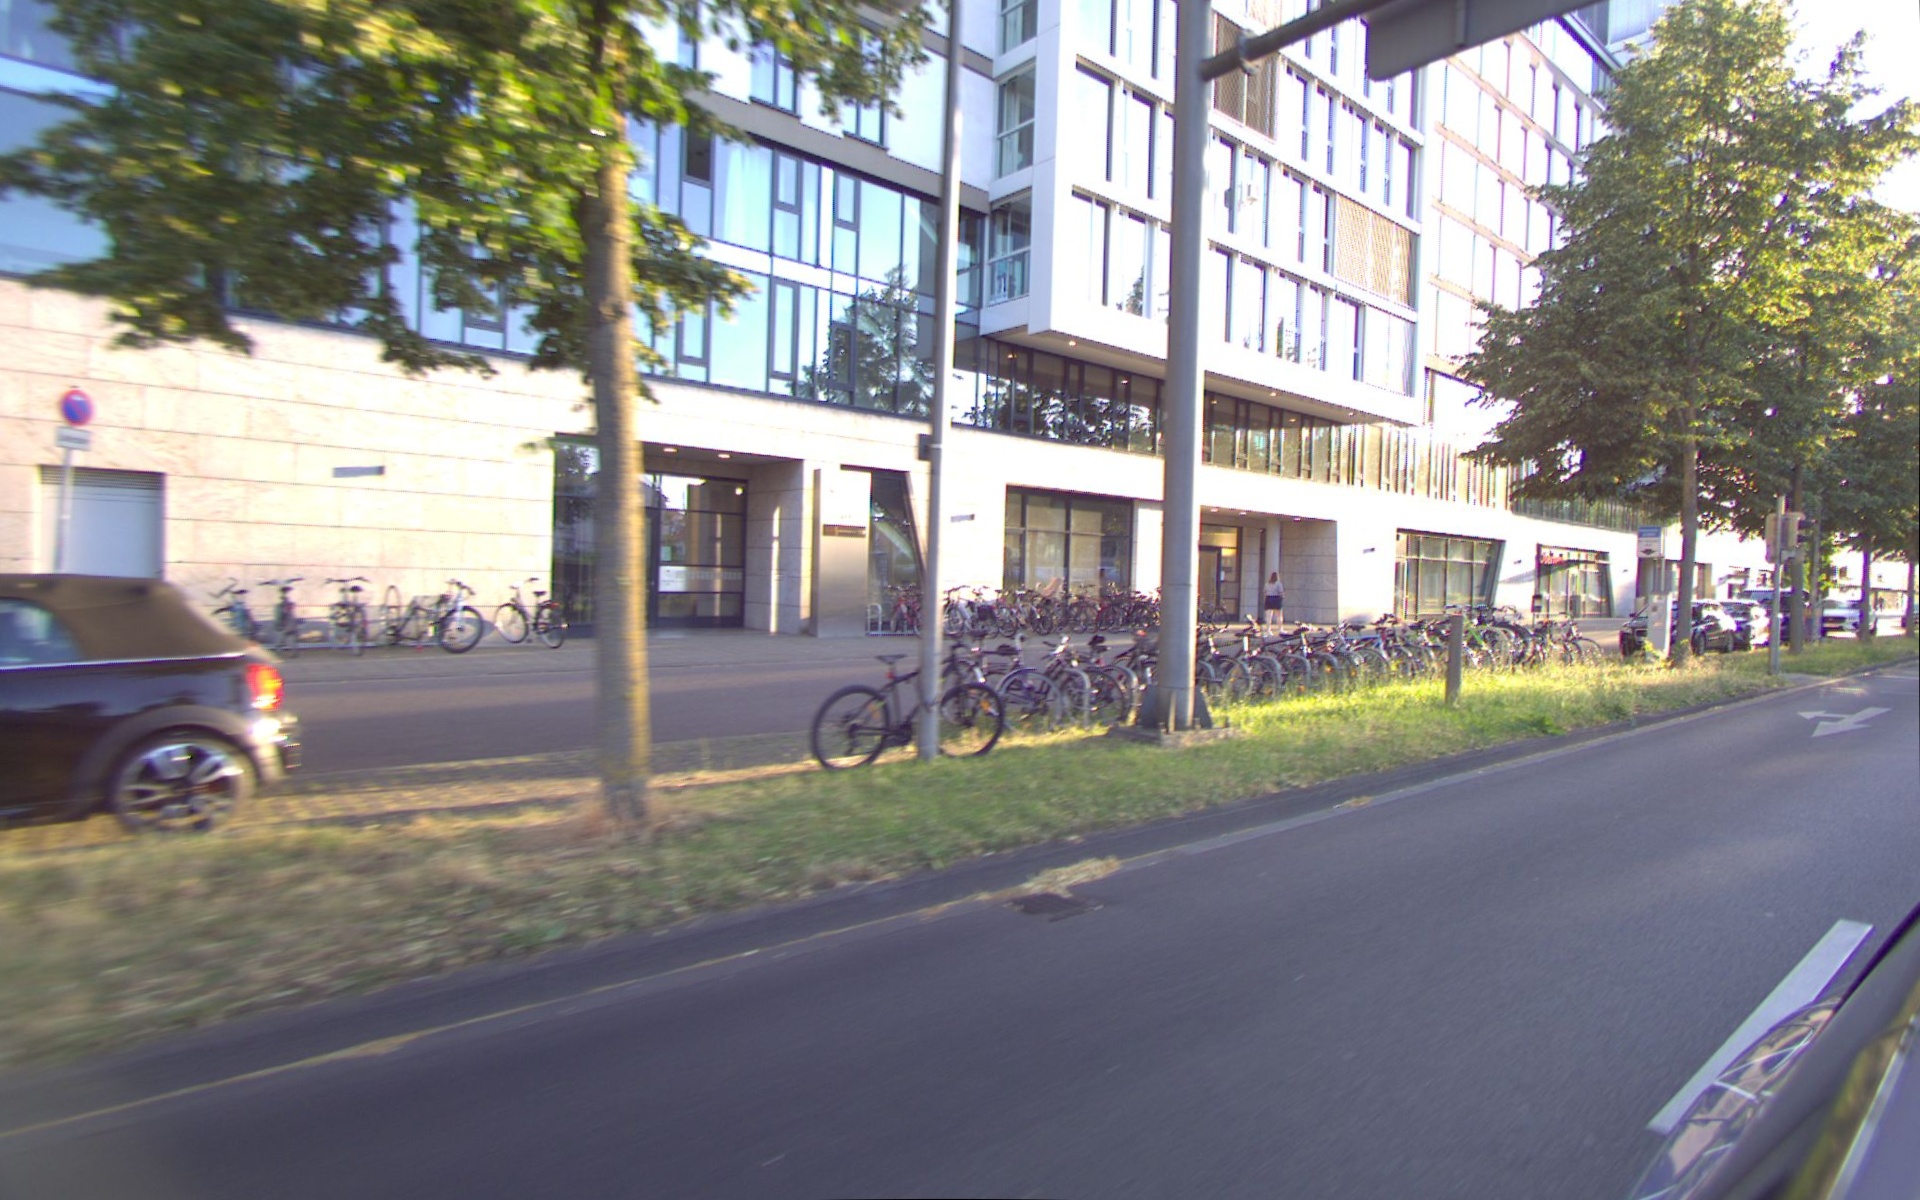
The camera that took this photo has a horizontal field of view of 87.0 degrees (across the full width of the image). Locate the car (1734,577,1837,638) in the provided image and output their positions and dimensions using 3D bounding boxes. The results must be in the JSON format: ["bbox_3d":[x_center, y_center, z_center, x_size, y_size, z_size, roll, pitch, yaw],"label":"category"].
[{"bbox_3d":[28.023,0.222,34.305,4.585,1.875,1.997,0,2,-42],"label":"car"}]

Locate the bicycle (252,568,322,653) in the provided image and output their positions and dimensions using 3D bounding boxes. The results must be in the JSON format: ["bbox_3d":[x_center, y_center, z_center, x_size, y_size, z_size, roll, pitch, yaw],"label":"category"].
[{"bbox_3d":[-9.587,0.117,14.389,0.500,1.118,1.786,0,2,-44],"label":"bicycle"}]

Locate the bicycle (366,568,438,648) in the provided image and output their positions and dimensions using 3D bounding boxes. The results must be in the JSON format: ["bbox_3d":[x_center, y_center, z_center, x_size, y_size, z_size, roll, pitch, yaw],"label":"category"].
[{"bbox_3d":[-8.467,0.090,15.316,0.500,1.118,1.786,0,2,-44],"label":"bicycle"}]

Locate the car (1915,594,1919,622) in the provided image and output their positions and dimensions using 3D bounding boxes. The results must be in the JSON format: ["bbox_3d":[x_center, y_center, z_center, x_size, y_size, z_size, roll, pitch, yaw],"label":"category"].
[{"bbox_3d":[55.664,0.460,57.480,3.693,1.534,1.712,0,0,-41],"label":"car"}]

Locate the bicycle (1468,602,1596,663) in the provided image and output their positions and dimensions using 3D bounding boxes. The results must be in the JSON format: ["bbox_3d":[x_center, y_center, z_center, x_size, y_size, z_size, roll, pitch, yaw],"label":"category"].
[{"bbox_3d":[10.395,0.589,18.443,1.938,1.067,0.537,-2,-2,40],"label":"bicycle"}]

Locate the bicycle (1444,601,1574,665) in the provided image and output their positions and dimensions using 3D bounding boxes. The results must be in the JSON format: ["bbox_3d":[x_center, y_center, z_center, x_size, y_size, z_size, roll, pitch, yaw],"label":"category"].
[{"bbox_3d":[9.536,0.573,17.640,1.941,1.067,0.402,-2,-2,43],"label":"bicycle"}]

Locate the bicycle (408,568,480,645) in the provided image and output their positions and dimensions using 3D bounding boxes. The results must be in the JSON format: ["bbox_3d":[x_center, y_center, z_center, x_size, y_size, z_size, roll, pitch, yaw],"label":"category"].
[{"bbox_3d":[-8.077,0.074,15.800,0.500,1.118,1.786,0,2,-44],"label":"bicycle"}]

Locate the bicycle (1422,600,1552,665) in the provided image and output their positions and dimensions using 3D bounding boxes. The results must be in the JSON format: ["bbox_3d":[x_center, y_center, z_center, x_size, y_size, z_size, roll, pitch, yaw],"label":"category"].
[{"bbox_3d":[9.071,0.564,17.480,1.941,1.067,0.402,-2,-2,43],"label":"bicycle"}]

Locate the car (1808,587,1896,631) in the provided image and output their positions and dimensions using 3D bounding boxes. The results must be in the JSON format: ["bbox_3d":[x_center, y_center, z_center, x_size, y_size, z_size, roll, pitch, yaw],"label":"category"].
[{"bbox_3d":[37.419,0.341,42.398,4.791,1.662,1.998,0,2,-40],"label":"car"}]

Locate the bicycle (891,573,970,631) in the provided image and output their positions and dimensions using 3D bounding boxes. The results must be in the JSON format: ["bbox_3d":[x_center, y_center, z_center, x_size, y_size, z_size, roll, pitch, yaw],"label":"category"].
[{"bbox_3d":[-0.654,0.020,21.553,0.495,1.156,1.985,0,2,-42],"label":"bicycle"}]

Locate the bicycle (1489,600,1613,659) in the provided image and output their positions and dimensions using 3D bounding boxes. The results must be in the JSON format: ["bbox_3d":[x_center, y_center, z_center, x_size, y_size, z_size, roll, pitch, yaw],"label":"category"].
[{"bbox_3d":[10.969,0.550,18.818,1.935,1.067,0.538,-2,-2,36],"label":"bicycle"}]

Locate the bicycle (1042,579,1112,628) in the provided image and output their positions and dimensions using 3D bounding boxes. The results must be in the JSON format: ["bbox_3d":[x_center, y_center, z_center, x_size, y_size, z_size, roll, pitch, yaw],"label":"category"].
[{"bbox_3d":[2.879,0.069,25.056,0.495,1.127,1.833,0,2,-42],"label":"bicycle"}]

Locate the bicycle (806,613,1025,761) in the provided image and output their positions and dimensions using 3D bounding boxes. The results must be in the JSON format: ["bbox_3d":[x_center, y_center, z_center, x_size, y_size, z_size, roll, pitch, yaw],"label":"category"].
[{"bbox_3d":[-0.290,0.608,7.691,1.813,0.992,0.319,0,2,-39],"label":"bicycle"}]

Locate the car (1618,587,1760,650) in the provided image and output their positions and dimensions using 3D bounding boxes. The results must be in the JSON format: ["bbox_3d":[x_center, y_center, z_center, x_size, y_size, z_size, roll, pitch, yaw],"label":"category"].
[{"bbox_3d":[19.029,0.435,26.357,4.563,1.428,1.873,0,2,-39],"label":"car"}]

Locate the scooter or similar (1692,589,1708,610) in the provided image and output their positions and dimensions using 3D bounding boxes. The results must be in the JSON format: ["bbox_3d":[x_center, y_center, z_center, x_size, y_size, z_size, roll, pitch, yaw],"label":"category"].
[{"bbox_3d":[45.270,-0.036,61.905,1.206,1.226,0.473,0,2,-39],"label":"scooter or similar"}]

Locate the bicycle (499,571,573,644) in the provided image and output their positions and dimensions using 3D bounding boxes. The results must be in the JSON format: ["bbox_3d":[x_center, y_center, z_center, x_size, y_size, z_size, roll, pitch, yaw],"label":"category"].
[{"bbox_3d":[-6.985,0.093,16.625,0.500,1.118,1.786,0,2,-44],"label":"bicycle"}]

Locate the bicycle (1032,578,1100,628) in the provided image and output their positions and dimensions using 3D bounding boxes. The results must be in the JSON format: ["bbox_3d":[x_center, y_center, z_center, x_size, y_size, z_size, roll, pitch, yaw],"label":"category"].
[{"bbox_3d":[2.567,0.048,24.684,0.366,1.138,1.833,1,2,-42],"label":"bicycle"}]

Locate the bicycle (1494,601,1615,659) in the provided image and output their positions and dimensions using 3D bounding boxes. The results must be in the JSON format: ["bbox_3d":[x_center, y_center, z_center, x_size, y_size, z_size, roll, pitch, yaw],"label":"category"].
[{"bbox_3d":[11.350,0.574,19.358,1.935,1.067,0.538,-2,-2,36],"label":"bicycle"}]

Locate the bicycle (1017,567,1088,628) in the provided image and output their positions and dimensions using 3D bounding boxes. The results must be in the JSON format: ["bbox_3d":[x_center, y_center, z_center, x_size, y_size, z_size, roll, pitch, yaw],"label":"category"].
[{"bbox_3d":[2.212,-0.081,24.341,0.495,1.373,1.833,1,2,-42],"label":"bicycle"}]

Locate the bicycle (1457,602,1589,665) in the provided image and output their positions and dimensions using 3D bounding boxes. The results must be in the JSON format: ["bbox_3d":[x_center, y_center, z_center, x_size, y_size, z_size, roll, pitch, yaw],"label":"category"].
[{"bbox_3d":[9.948,0.585,17.938,1.941,1.067,0.536,-2,-2,43],"label":"bicycle"}]

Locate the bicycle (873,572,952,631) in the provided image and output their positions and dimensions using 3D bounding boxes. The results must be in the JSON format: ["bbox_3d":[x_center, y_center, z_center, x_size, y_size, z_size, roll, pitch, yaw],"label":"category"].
[{"bbox_3d":[-1.031,0.014,21.553,0.495,1.156,1.985,0,2,-42],"label":"bicycle"}]

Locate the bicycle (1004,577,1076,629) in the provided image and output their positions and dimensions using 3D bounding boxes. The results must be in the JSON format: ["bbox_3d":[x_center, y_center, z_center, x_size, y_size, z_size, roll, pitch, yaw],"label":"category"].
[{"bbox_3d":[1.867,0.055,23.906,0.495,1.135,1.833,0,2,-42],"label":"bicycle"}]

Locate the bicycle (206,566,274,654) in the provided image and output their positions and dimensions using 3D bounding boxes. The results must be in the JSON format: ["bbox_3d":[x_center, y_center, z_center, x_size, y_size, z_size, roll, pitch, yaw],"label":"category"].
[{"bbox_3d":[-10.006,0.110,14.040,0.500,1.118,1.786,0,2,-44],"label":"bicycle"}]

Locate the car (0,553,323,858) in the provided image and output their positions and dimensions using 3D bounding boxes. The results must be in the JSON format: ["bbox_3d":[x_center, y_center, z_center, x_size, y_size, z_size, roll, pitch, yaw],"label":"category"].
[{"bbox_3d":[-5.622,0.489,5.200,3.812,1.490,1.579,0,2,-40],"label":"car"}]

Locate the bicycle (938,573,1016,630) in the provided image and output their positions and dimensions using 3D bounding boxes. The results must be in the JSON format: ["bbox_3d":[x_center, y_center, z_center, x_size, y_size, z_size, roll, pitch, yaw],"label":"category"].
[{"bbox_3d":[0.367,0.017,22.713,0.495,1.197,1.985,0,2,-42],"label":"bicycle"}]

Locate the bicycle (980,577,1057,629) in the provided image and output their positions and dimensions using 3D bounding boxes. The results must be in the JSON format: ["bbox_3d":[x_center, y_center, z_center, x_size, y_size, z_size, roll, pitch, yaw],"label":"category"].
[{"bbox_3d":[1.339,0.056,23.488,0.495,1.113,1.985,0,2,-42],"label":"bicycle"}]

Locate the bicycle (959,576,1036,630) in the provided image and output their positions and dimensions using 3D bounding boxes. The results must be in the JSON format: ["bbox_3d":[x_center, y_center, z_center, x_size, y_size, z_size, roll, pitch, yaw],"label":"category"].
[{"bbox_3d":[0.837,0.051,23.059,0.495,1.155,1.985,0,2,-42],"label":"bicycle"}]

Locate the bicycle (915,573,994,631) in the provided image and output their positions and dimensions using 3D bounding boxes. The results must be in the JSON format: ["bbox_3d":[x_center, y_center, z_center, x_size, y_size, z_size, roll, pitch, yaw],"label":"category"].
[{"bbox_3d":[-0.147,0.015,22.063,0.495,1.182,1.985,0,2,-42],"label":"bicycle"}]

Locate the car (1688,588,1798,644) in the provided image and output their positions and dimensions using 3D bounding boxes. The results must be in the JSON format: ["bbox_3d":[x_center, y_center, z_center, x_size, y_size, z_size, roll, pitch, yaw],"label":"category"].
[{"bbox_3d":[23.513,0.439,30.317,4.585,1.489,1.812,0,2,-42],"label":"car"}]

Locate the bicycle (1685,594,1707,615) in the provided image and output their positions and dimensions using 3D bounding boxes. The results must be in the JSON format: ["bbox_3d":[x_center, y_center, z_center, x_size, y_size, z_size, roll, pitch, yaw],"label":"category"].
[{"bbox_3d":[38.412,0.242,52.823,1.774,1.052,0.471,0,2,-39],"label":"bicycle"}]

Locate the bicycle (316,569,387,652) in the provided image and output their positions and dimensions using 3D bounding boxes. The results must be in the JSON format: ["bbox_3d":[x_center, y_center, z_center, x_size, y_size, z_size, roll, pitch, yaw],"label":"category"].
[{"bbox_3d":[-8.958,0.128,14.875,0.500,1.118,1.786,0,2,-44],"label":"bicycle"}]

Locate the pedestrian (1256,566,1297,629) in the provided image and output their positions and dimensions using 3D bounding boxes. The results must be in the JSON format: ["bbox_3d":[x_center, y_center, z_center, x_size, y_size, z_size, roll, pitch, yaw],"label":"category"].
[{"bbox_3d":[8.681,-0.074,27.790,0.937,1.669,0.644,0,1,-41],"label":"pedestrian"}]
